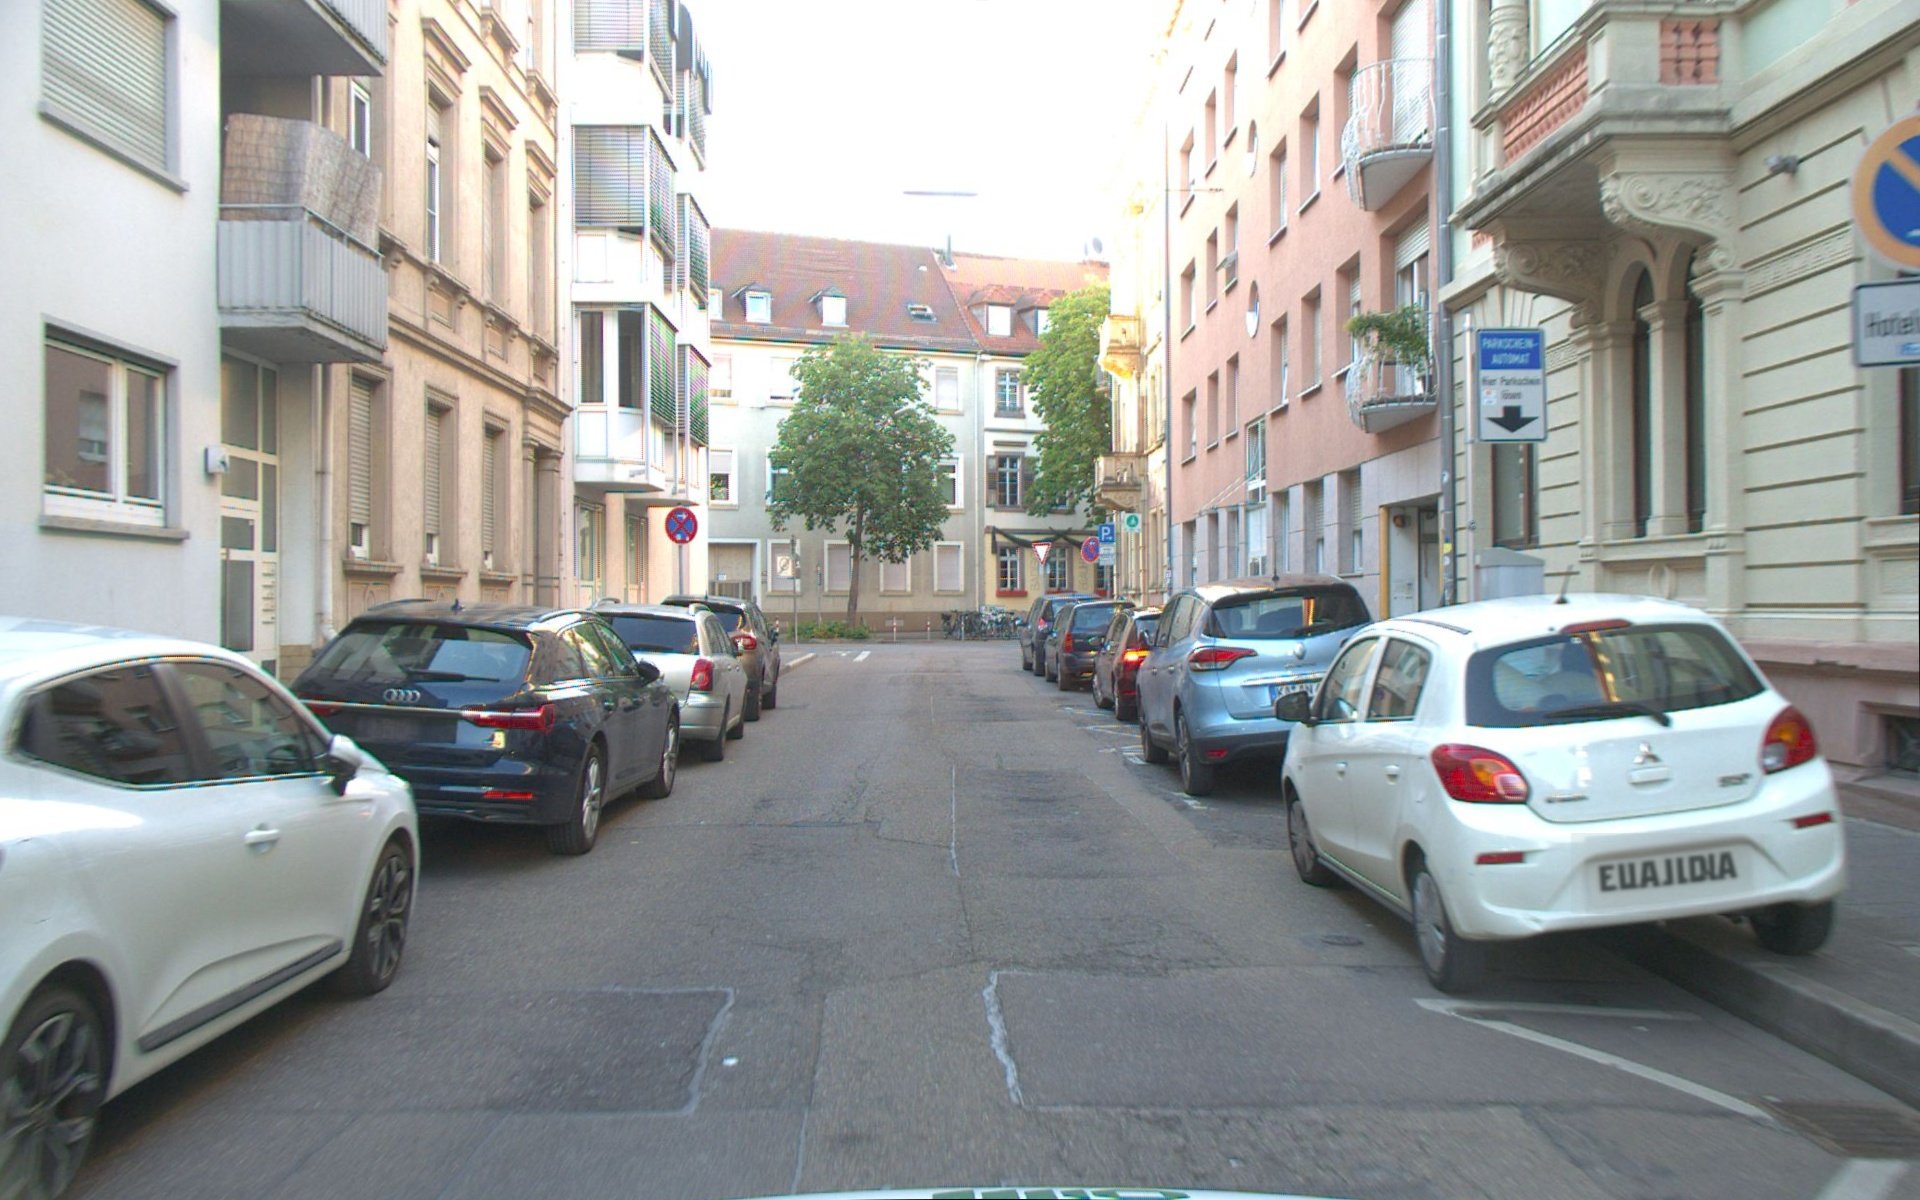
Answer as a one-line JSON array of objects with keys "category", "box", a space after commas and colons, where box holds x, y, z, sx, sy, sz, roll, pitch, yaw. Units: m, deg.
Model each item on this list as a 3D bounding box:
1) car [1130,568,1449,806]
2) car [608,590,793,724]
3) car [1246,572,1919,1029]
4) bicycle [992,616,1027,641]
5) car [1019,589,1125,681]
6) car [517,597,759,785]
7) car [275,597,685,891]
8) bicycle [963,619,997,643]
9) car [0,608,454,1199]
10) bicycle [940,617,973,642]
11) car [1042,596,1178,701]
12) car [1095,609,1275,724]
[{"category": "car", "box": [2.676, 0.657, 14.406, 1.953, 1.763, 4.059, 0, 0, 0]}, {"category": "car", "box": [-3.550, 0.744, 23.319, 1.953, 1.692, 3.977, -1, 0, 0]}, {"category": "car", "box": [2.598, 0.721, 7.906, 1.629, 1.483, 3.758, -6, 0, -1]}, {"category": "bicycle", "box": [1.979, 1.153, 66.115, 0.513, 0.965, 1.705, -1, 0, -33]}, {"category": "car", "box": [2.306, 0.706, 35.042, 1.953, 1.792, 4.000, -1, 0, 0]}, {"category": "car", "box": [-3.211, 0.838, 17.358, 1.954, 1.696, 4.405, 0, 0, -4]}, {"category": "car", "box": [-3.005, 0.789, 11.278, 1.582, 1.598, 4.303, 0, 0, -1]}, {"category": "bicycle", "box": [0.782, 1.233, 65.428, 0.513, 0.910, 1.705, 1, -2, -33]}, {"category": "car", "box": [-2.959, 0.798, 5.230, 1.597, 1.498, 3.753, 0, 0, -1]}, {"category": "bicycle", "box": [-0.156, 1.199, 66.880, 0.513, 0.965, 1.705, 1, -2, -33]}, {"category": "car", "box": [2.639, 0.825, 29.951, 1.953, 1.738, 3.998, -1, 0, -2]}, {"category": "car", "box": [2.975, 0.848, 22.605, 1.953, 1.408, 3.706, -1, 0, 0]}]
